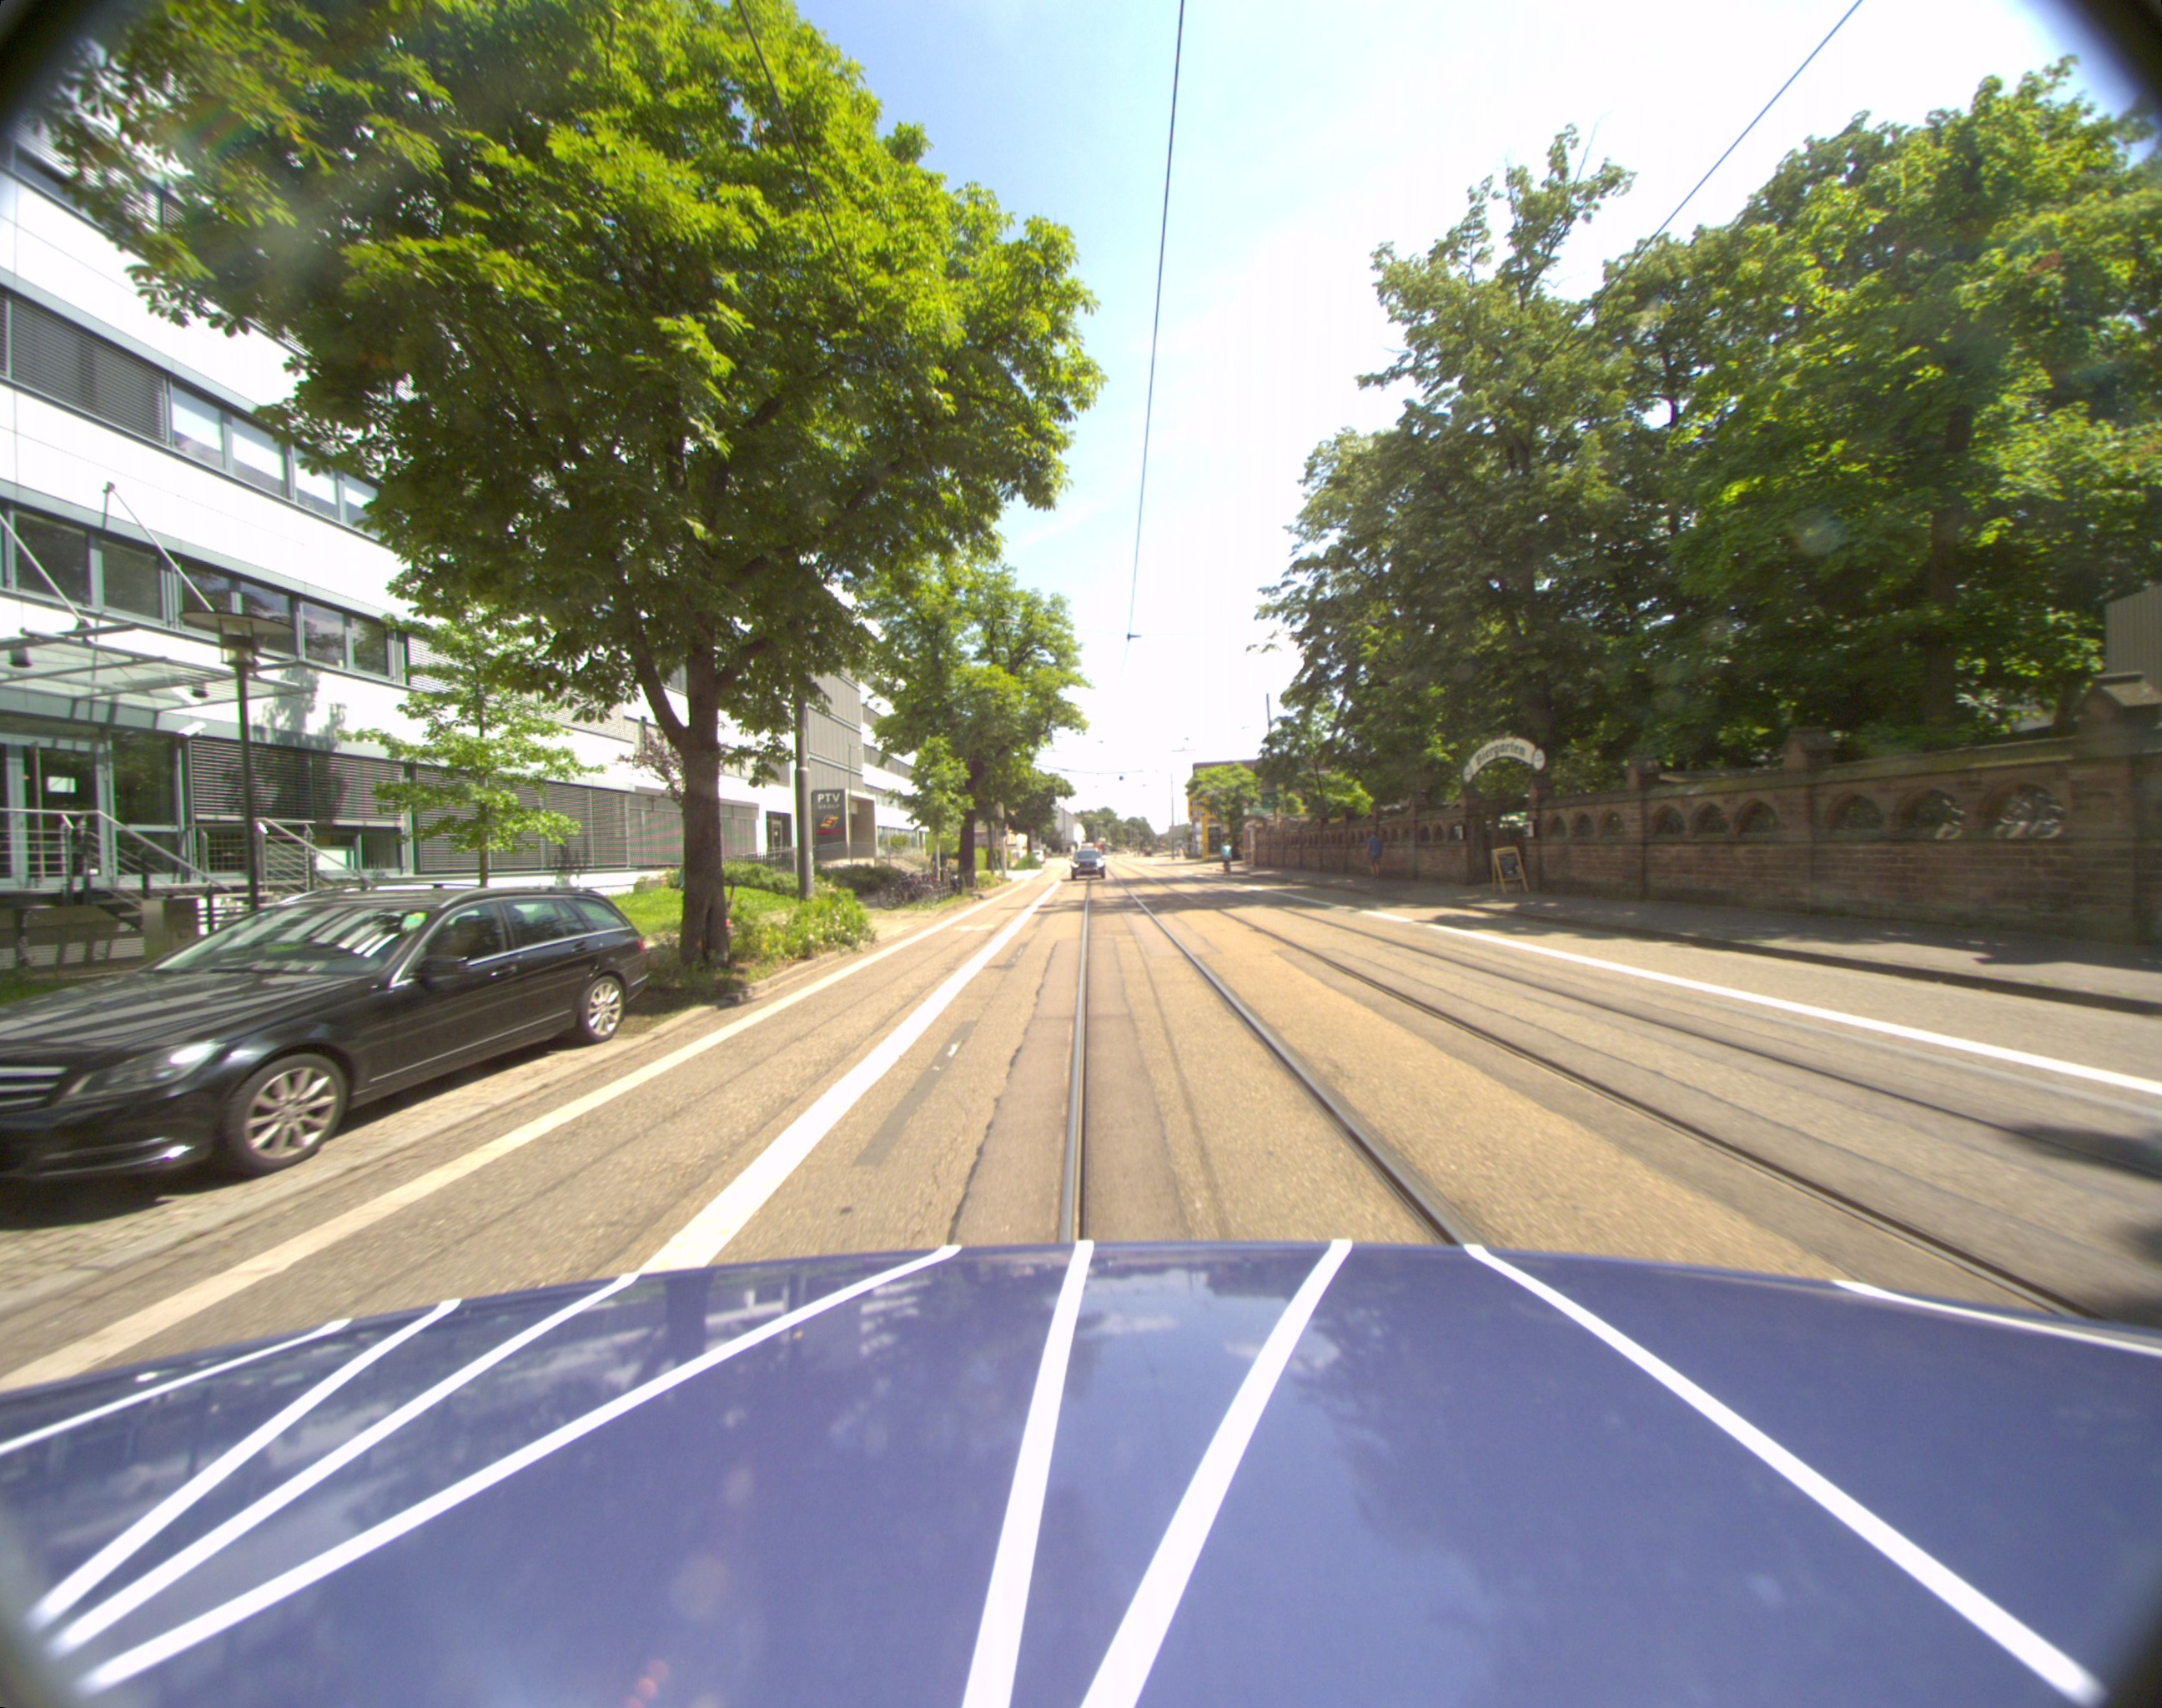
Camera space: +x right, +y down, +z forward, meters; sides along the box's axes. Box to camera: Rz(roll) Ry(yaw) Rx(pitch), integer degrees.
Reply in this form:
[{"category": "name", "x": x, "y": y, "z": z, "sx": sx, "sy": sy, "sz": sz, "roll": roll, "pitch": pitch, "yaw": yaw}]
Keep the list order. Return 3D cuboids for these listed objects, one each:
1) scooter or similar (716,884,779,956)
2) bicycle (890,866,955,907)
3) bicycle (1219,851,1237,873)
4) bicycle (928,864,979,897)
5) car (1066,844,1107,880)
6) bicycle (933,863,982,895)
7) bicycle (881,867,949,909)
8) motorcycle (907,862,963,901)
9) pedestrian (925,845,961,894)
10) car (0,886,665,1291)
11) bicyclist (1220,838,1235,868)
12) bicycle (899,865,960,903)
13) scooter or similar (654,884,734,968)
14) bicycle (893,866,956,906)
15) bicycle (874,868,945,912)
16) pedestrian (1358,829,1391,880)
[{"category": "scooter or similar", "x": -6.098, "y": 1.181, "z": 13.962, "sx": 0.541, "sy": 1.201, "sz": 1.385, "roll": 0, "pitch": 1, "yaw": 1}, {"category": "bicycle", "x": -4.821, "y": 0.990, "z": 23.139, "sx": 1.812, "sy": 1.105, "sz": 0.569, "roll": -3, "pitch": 1, "yaw": -2}, {"category": "bicycle", "x": 7.936, "y": 0.420, "z": 41.060, "sx": 0.661, "sy": 1.156, "sz": 1.895, "roll": 0, "pitch": 1, "yaw": 1}, {"category": "bicycle", "x": -4.790, "y": 0.981, "z": 28.674, "sx": 1.819, "sy": 1.158, "sz": 0.710, "roll": -2, "pitch": 1, "yaw": -7}, {"category": "car", "x": 0.309, "y": 0.402, "z": 41.108, "sx": 1.998, "sy": 1.732, "sz": 4.226, "roll": -3, "pitch": 1, "yaw": 1}, {"category": "bicycle", "x": -4.864, "y": 0.964, "z": 29.981, "sx": 1.819, "sy": 1.158, "sz": 0.710, "roll": -2, "pitch": 1, "yaw": -7}, {"category": "bicycle", "x": -4.897, "y": 1.008, "z": 22.499, "sx": 1.812, "sy": 1.105, "sz": 0.569, "roll": -3, "pitch": 1, "yaw": -2}, {"category": "motorcycle", "x": -5.075, "y": 0.939, "z": 26.538, "sx": 1.819, "sy": 1.269, "sz": 0.720, "roll": -2, "pitch": 1, "yaw": -7}, {"category": "pedestrian", "x": -5.306, "y": 0.600, "z": 29.221, "sx": 0.986, "sy": 1.822, "sz": 0.786, "roll": -3, "pitch": 1, "yaw": -42}, {"category": "car", "x": -5.140, "y": 1.088, "z": 5.477, "sx": 1.680, "sy": 1.458, "sz": 4.634, "roll": -1, "pitch": 1, "yaw": 0}, {"category": "bicyclist", "x": 7.940, "y": -0.039, "z": 41.189, "sx": 0.665, "sy": 1.616, "sz": 0.919, "roll": 0, "pitch": 1, "yaw": 1}, {"category": "bicycle", "x": -4.944, "y": 0.967, "z": 24.887, "sx": 1.812, "sy": 1.105, "sz": 0.569, "roll": -3, "pitch": 1, "yaw": -2}, {"category": "scooter or similar", "x": -6.116, "y": 1.108, "z": 12.084, "sx": 0.541, "sy": 1.201, "sz": 1.385, "roll": 0, "pitch": 1, "yaw": 1}, {"category": "bicycle", "x": -4.869, "y": 0.983, "z": 23.715, "sx": 1.812, "sy": 1.105, "sz": 0.569, "roll": -3, "pitch": 1, "yaw": -2}, {"category": "bicycle", "x": -4.910, "y": 1.020, "z": 21.826, "sx": 1.846, "sy": 1.105, "sz": 0.569, "roll": -3, "pitch": 1, "yaw": -2}, {"category": "pedestrian", "x": 10.572, "y": 0.016, "z": 27.401, "sx": 0.750, "sy": 1.738, "sz": 0.919, "roll": -4, "pitch": 1, "yaw": 1}]
